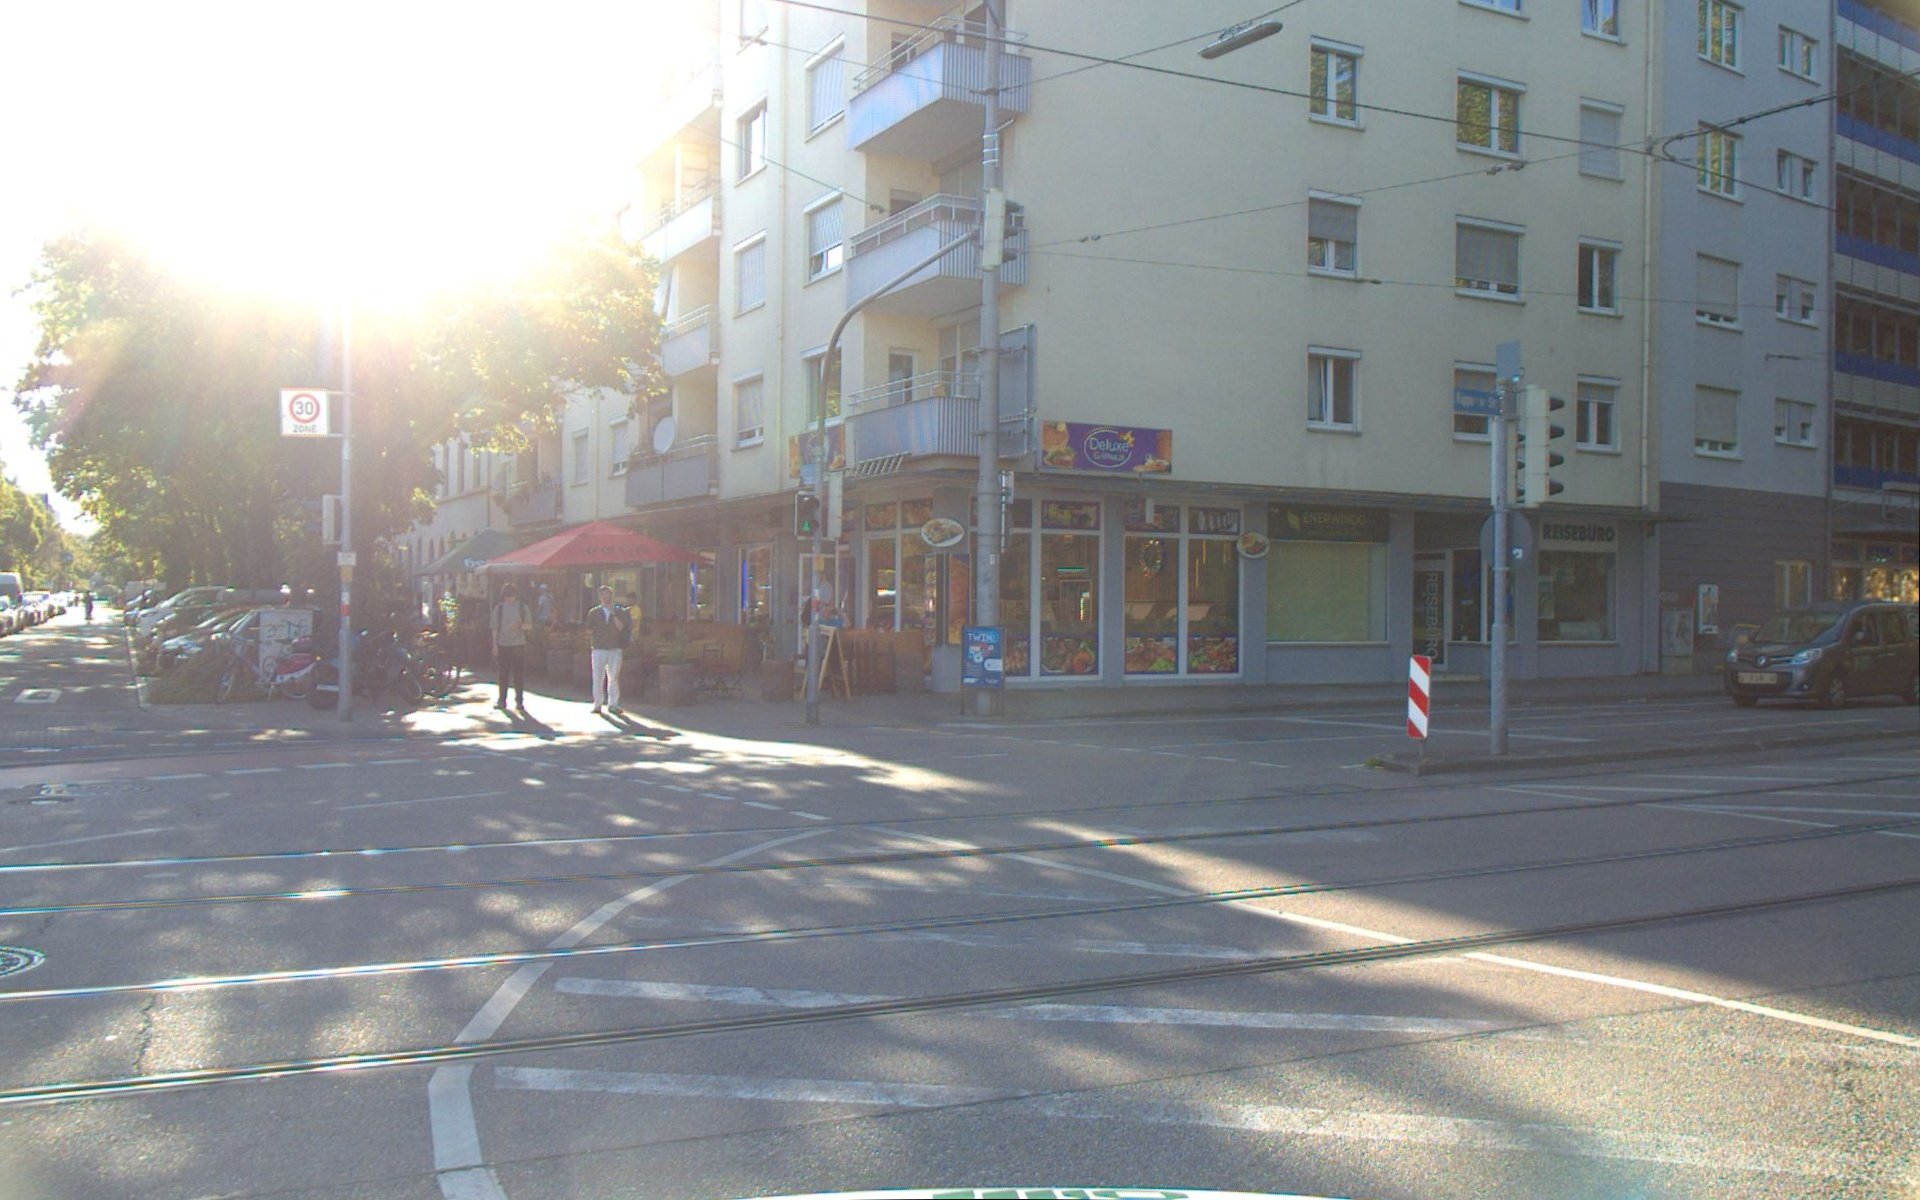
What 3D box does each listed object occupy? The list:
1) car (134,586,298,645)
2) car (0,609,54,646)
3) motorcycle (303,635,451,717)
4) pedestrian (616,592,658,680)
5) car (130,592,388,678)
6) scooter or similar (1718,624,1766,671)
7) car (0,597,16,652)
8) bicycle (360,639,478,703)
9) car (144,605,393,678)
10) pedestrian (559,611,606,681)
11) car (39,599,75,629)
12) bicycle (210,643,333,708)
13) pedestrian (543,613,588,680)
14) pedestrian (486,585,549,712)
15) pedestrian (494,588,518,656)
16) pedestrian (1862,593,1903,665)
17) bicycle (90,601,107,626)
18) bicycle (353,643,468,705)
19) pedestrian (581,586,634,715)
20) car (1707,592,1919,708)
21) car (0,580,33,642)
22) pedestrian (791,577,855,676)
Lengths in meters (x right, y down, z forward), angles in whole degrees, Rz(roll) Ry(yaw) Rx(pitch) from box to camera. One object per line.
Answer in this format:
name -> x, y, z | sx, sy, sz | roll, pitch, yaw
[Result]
car -> -26.020, 0.567, 57.900 | 5.039, 1.958, 2.337 | 0, -2, -31
car -> -47.851, 1.372, 84.780 | 2.327, 1.826, 5.262 | 0, 0, -27
motorcycle -> -8.608, 1.097, 24.433 | 1.934, 1.129, 0.828 | 0, 0, -34
pedestrian -> -6.065, 0.670, 31.034 | 0.614, 1.619, 0.471 | 1, -1, -45
car -> -17.051, 0.863, 40.337 | 5.563, 1.958, 2.337 | 0, -2, -31
scooter or similar -> 16.757, 1.004, 35.438 | 1.420, 0.970, 0.460 | 0, 0, -43
car -> -33.692, 0.824, 56.607 | 2.330, 1.826, 5.255 | 0, 0, -30
bicycle -> -8.551, 1.110, 26.158 | 1.704, 0.949, 0.556 | 0, 0, -29
car -> -15.874, 0.953, 38.054 | 5.039, 1.584, 2.337 | 0, -2, -31
pedestrian -> -7.711, 0.925, 33.767 | 0.800, 1.386, 0.907 | 0, 0, -23
car -> -59.642, 0.948, 109.246 | 1.972, 1.719, 3.960 | 4, -4, -29
bicycle -> -10.651, 1.148, 25.582 | 1.704, 0.949, 0.666 | 0, 0, -29
pedestrian -> -8.335, 0.973, 34.928 | 0.800, 1.386, 0.907 | 0, 0, -23
pedestrian -> -6.338, 0.686, 23.662 | 0.684, 1.781, 0.787 | 1, -1, -30
pedestrian -> -13.709, 0.655, 49.930 | 0.531, 2.049, 0.505 | 1, -1, -36
pedestrian -> 21.532, 0.670, 38.599 | 0.619, 1.677, 0.656 | 1, -1, -38
bicycle -> -48.446, 0.767, 93.010 | 0.757, 1.347, 1.906 | 4, -4, -27
bicycle -> -8.908, 1.184, 26.829 | 1.704, 0.949, 0.556 | 0, 0, -29
pedestrian -> -4.962, 0.695, 23.233 | 0.679, 1.781, 0.837 | 1, 0, -15
car -> 14.821, 0.790, 28.273 | 4.313, 1.838, 1.891 | 0, 0, -36
car -> -40.933, 0.445, 70.576 | 2.330, 2.559, 5.255 | 1, 0, -30
pedestrian -> -2.541, 0.480, 30.581 | 0.903, 1.802, 0.804 | 0, 0, -35
